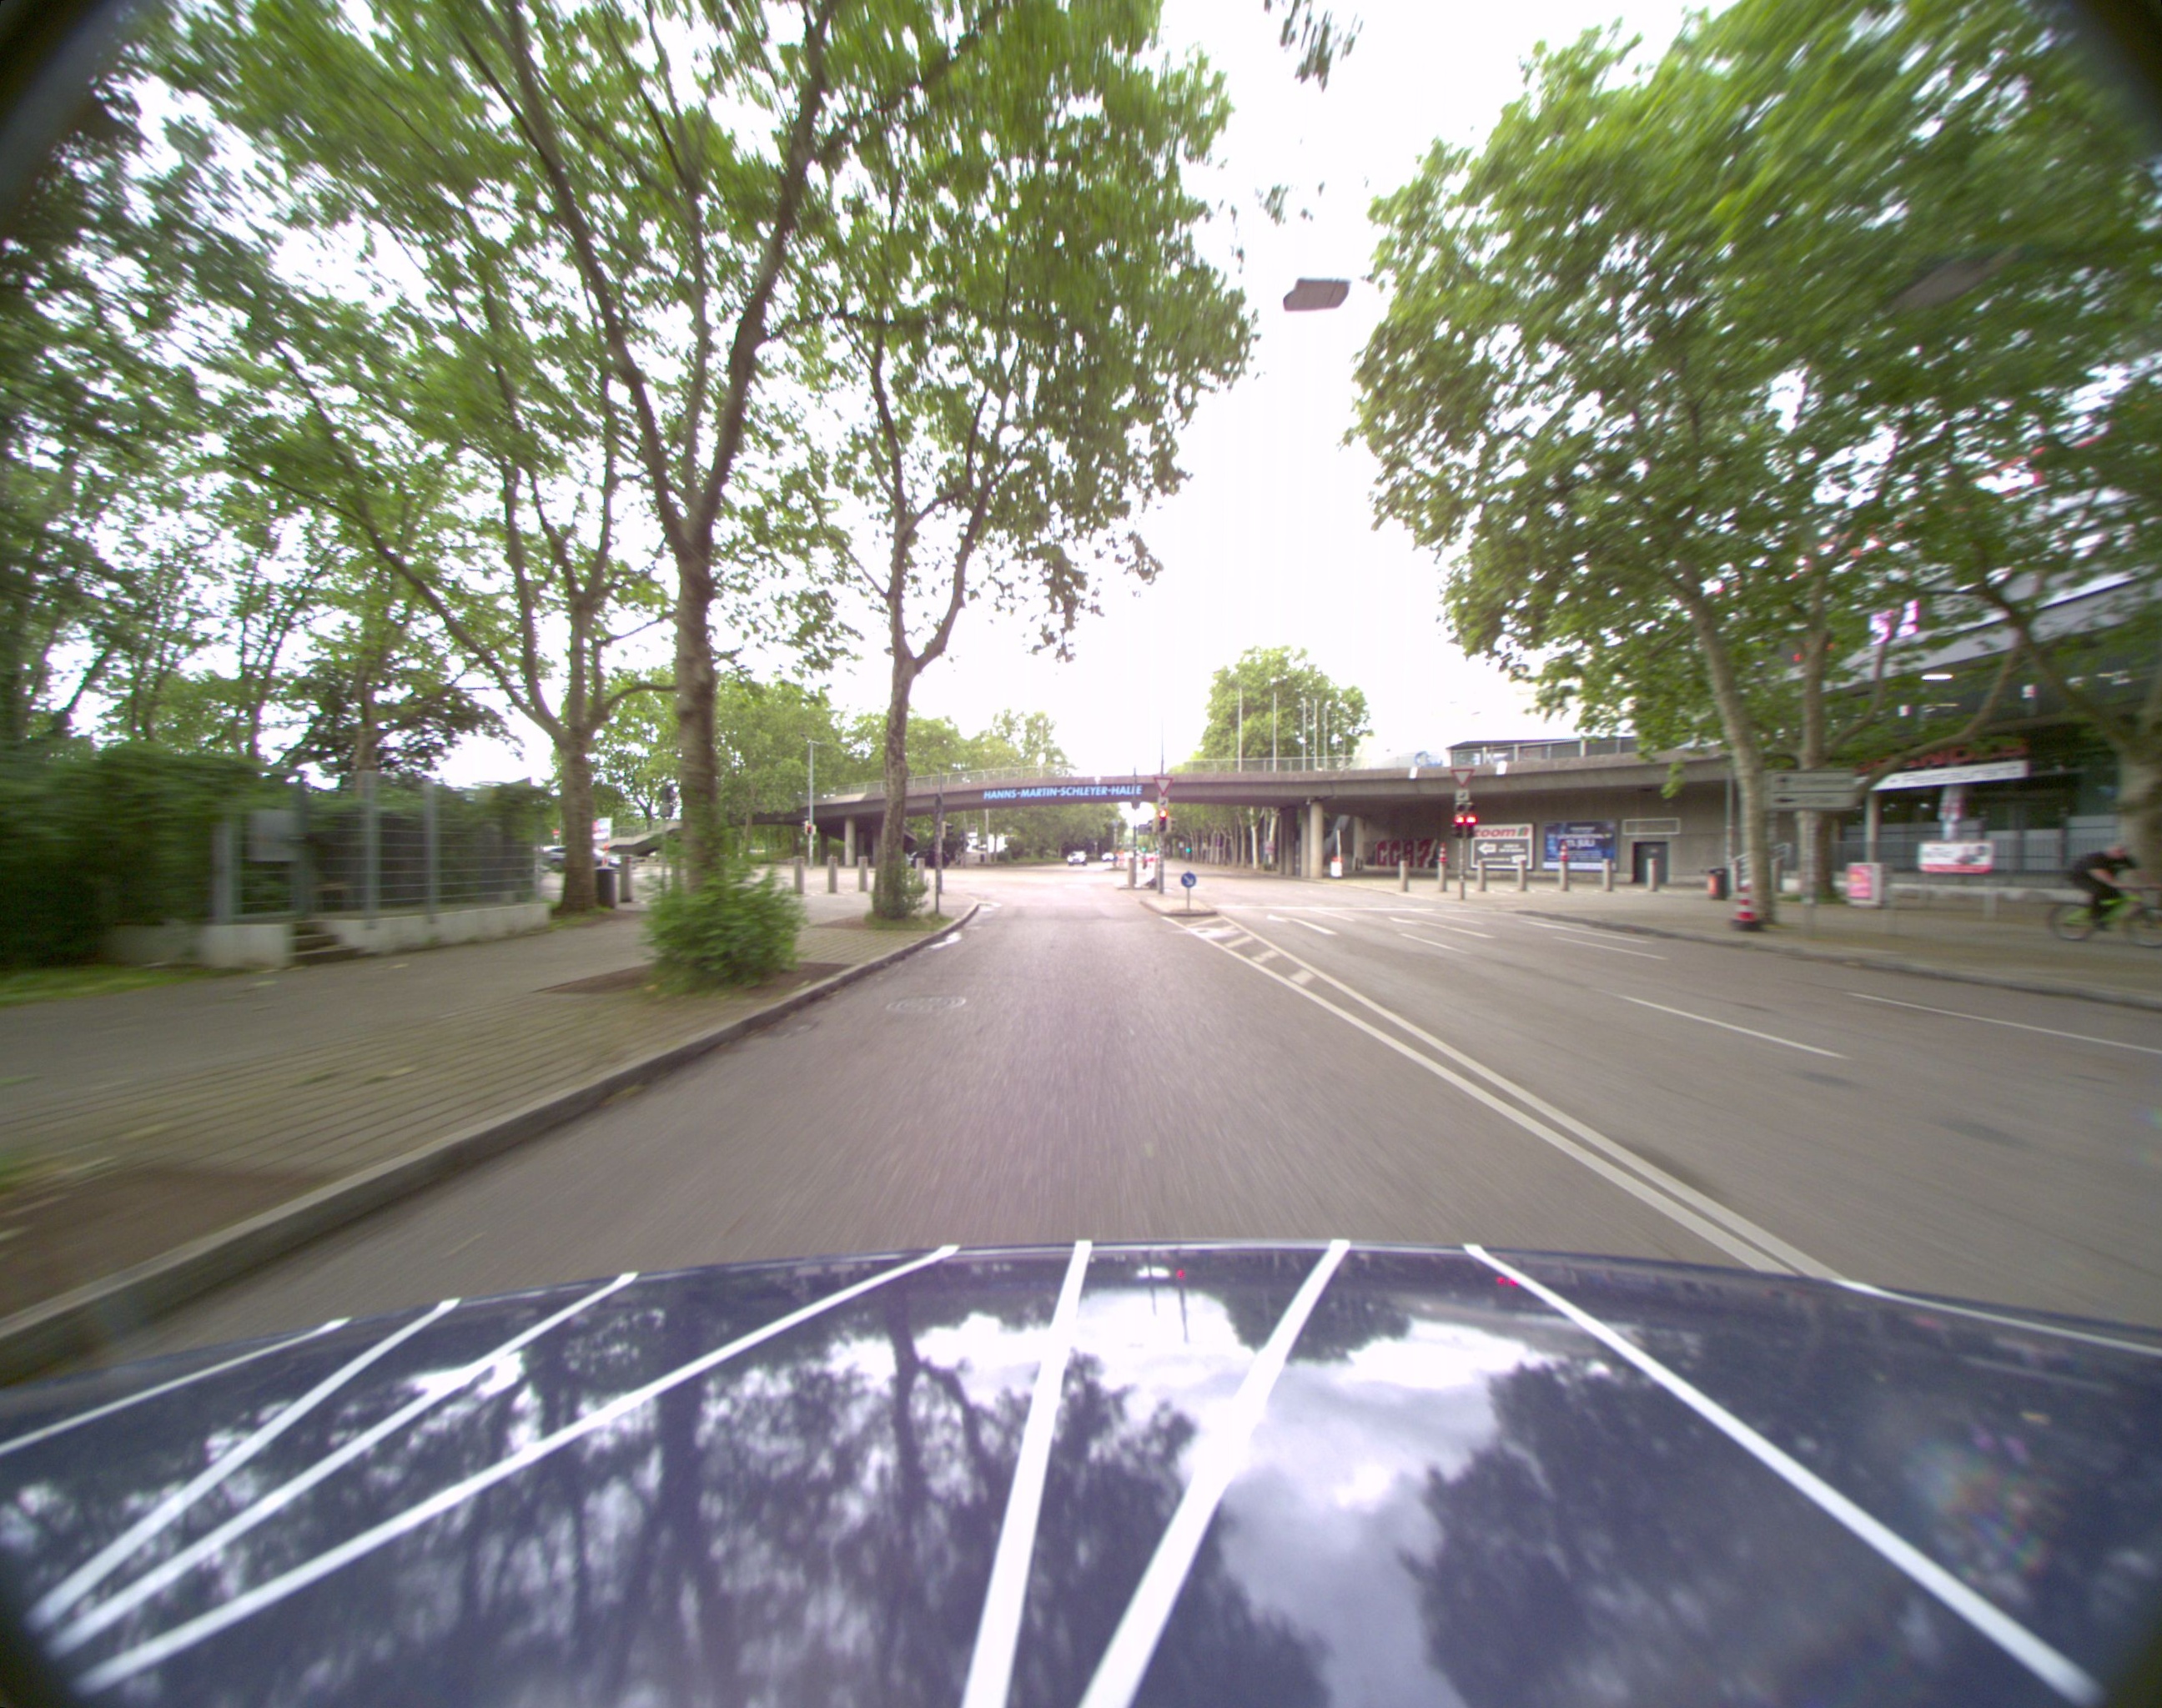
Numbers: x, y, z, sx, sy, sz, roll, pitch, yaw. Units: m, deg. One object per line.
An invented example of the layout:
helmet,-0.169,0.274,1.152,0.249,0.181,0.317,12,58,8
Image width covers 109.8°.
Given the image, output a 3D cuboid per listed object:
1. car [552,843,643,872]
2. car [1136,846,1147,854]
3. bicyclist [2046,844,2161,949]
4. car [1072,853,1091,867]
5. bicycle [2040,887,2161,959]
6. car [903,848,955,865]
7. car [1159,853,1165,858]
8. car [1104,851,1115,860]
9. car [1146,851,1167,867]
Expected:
car,-26.866,0.186,42.301,3.995,1.501,1.801,1,0,4
car,11.921,-0.772,149.113,1.998,1.410,4.001,1,1,5
bicyclist,17.270,0.690,12.818,0.766,1.688,0.854,1,2,1
car,0.069,0.656,87.073,1.761,1.356,3.717,2,2,5
bicycle,17.252,1.122,12.672,0.516,1.007,1.537,1,2,1
car,-12.268,0.208,61.525,3.723,1.314,1.758,0,3,-36
car,22.048,0.313,207.186,1.614,1.305,3.396,1,1,5
car,5.199,0.262,138.336,1.761,1.356,3.717,2,2,8
car,7.422,0.431,74.636,1.832,1.443,4.078,1,1,8
